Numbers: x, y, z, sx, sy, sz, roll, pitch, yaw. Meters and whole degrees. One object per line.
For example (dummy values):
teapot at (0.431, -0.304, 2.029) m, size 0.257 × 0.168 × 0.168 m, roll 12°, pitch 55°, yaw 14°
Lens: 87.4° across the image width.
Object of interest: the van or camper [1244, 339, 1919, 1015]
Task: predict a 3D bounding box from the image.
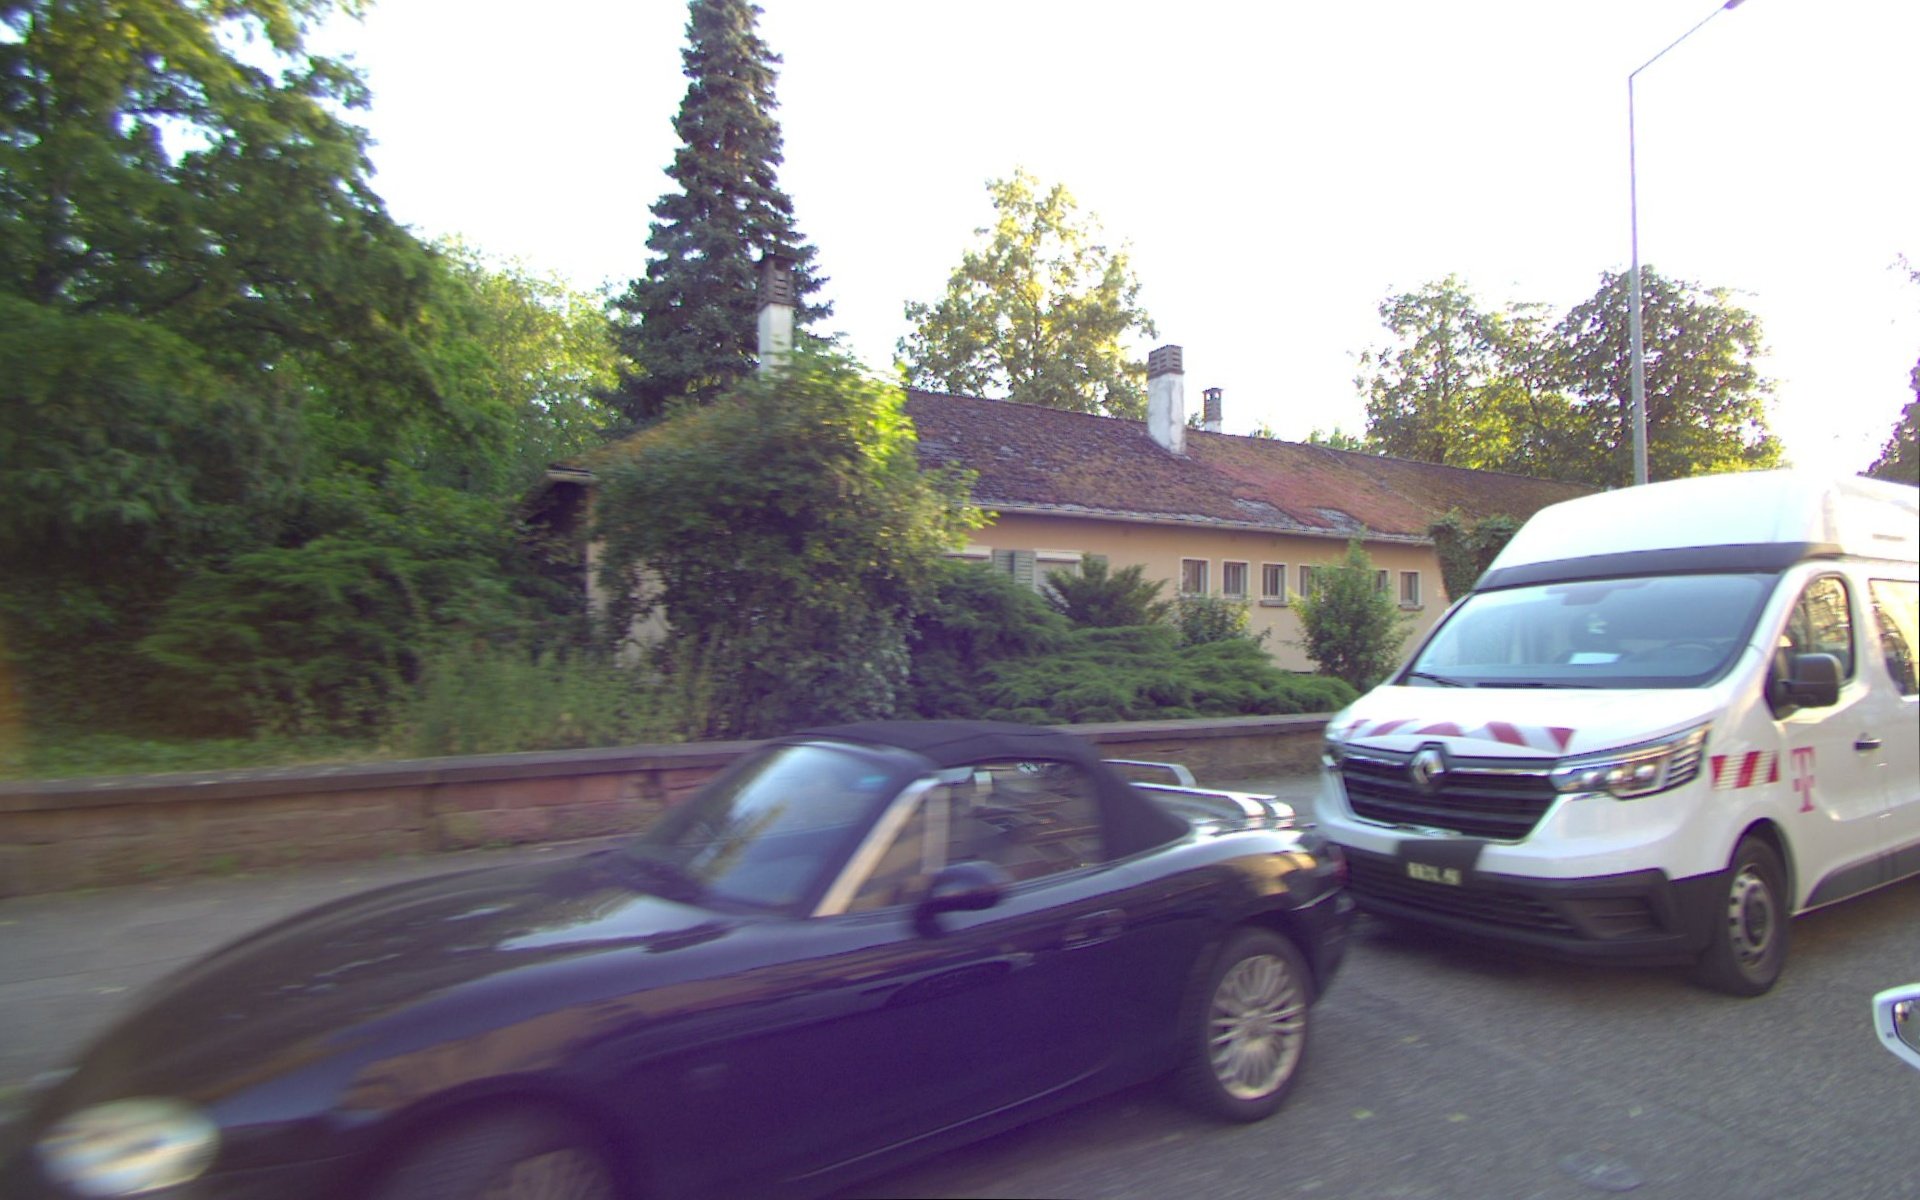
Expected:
van or camper at (4.625, 0.353, 6.094) m, size 6.011 × 2.489 × 1.984 m, roll 1°, pitch -2°, yaw -30°

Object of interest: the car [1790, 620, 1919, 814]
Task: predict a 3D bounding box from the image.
car at (9.768, 0.972, 9.046) m, size 4.731 × 1.539 × 1.985 m, roll 1°, pitch -2°, yaw -29°

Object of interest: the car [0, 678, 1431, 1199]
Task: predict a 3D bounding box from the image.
car at (-0.493, 0.948, 3.284) m, size 3.996 × 1.205 × 1.981 m, roll 1°, pitch -2°, yaw -35°
